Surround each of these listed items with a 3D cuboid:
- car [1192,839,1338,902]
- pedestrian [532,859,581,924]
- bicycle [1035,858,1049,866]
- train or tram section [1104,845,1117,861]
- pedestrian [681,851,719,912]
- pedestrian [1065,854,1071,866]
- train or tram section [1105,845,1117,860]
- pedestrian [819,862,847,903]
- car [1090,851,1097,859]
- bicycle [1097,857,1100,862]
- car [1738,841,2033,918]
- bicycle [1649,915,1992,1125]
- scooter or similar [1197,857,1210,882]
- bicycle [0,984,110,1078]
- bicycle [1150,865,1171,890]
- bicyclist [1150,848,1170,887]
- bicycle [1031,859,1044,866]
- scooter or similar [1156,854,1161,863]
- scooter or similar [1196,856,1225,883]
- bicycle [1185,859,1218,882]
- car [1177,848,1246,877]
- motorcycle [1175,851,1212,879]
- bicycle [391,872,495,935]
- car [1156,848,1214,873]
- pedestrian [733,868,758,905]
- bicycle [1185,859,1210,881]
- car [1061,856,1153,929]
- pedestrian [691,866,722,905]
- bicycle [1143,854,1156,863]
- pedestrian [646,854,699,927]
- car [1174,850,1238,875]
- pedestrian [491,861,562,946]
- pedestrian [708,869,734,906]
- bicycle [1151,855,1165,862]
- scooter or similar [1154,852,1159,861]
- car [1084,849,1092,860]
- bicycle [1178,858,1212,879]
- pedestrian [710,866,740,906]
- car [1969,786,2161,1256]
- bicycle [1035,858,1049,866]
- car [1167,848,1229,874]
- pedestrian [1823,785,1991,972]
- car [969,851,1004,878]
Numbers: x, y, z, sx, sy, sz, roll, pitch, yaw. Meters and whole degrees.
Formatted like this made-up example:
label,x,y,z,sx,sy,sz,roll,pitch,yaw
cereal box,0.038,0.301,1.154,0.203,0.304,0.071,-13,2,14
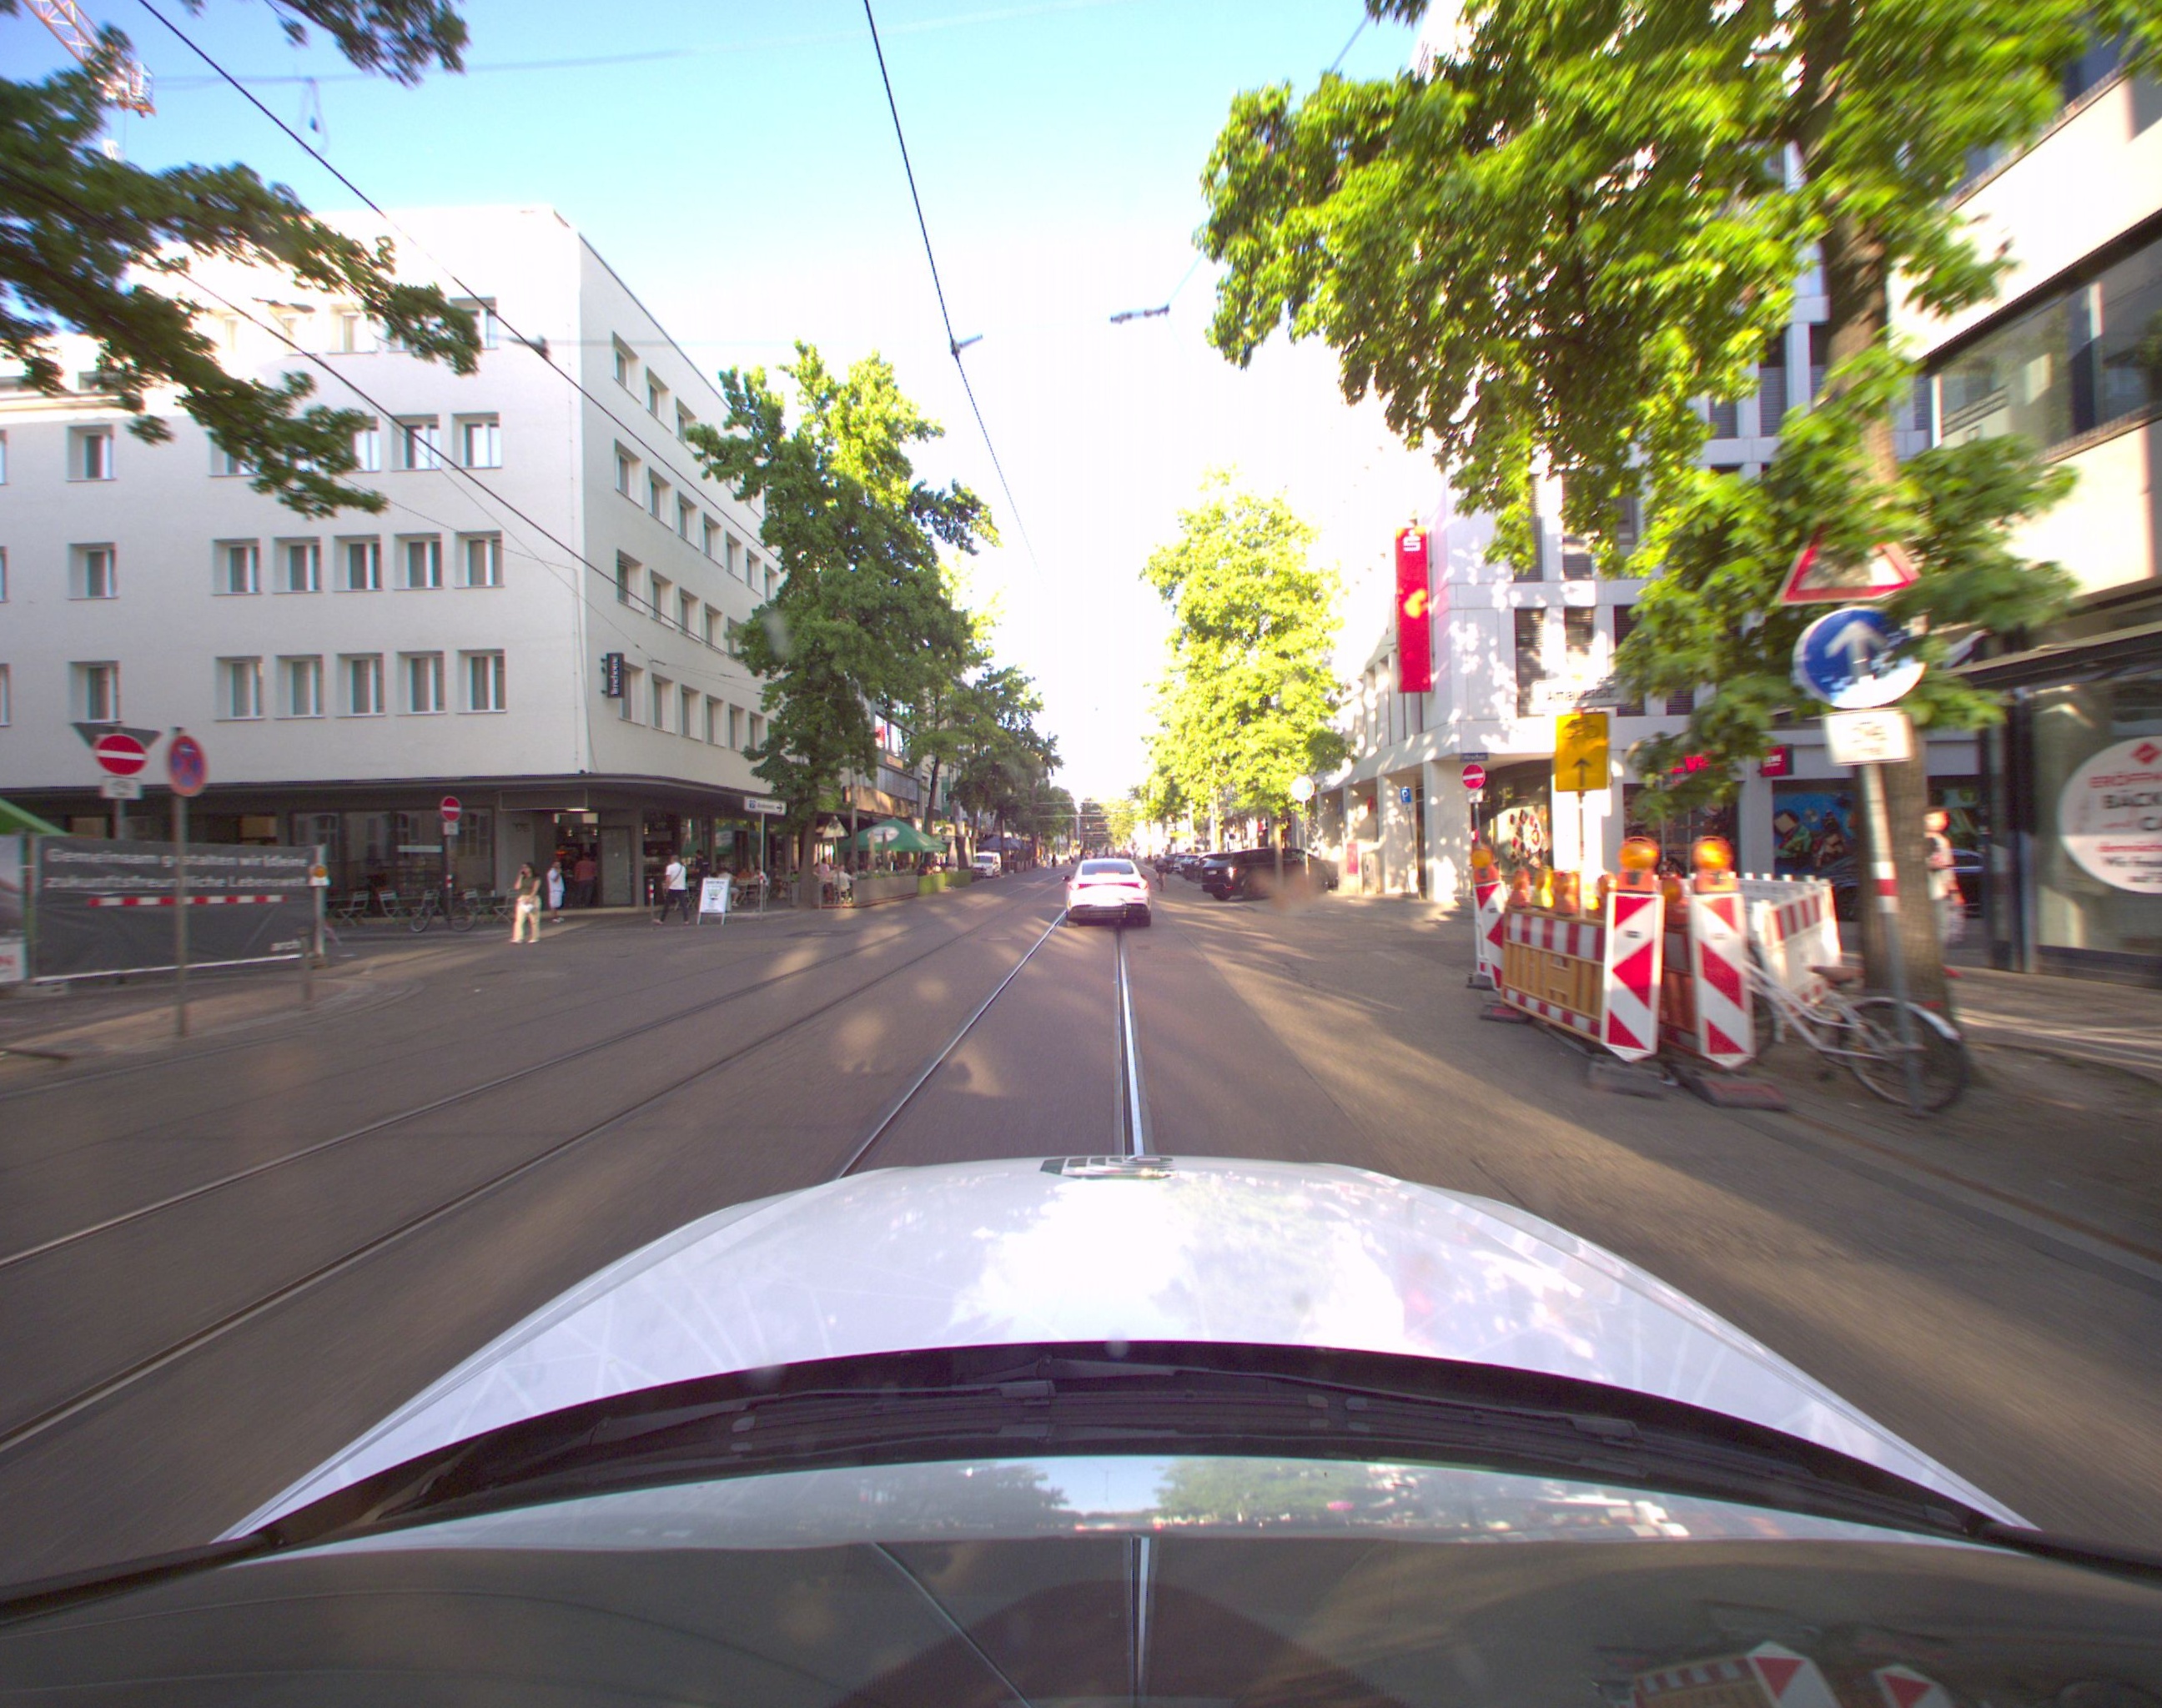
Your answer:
label,x,y,z,sx,sy,sz,roll,pitch,yaw
car,6.411,0.547,28.321,4.678,1.763,1.977,-4,0,-27
pedestrian,-13.629,0.949,21.190,0.797,1.614,0.862,-1,2,-15
bicycle,-5.121,1.049,106.782,1.784,1.077,0.377,0,0,-2
train or tram section,6.680,-0.274,184.494,2.684,3.516,12.552,-2,0,2
pedestrian,-11.608,0.812,24.818,0.679,1.815,0.767,0,0,17
pedestrian,-1.970,0.947,123.961,0.784,1.801,0.845,-1,0,3
train or tram section,7.213,-0.281,197.043,2.684,3.516,12.552,-2,0,2
pedestrian,-8.560,0.981,28.119,0.686,1.386,0.807,0,0,3
car,3.913,0.196,253.888,1.902,2.461,5.278,-2,0,3
bicycle,4.290,1.247,196.998,0.797,1.142,2.257,0,0,1
car,16.541,0.524,16.908,4.301,1.418,1.796,-1,-2,0
bicycle,4.669,0.968,5.364,0.491,0.981,1.930,-2,0,0
scooter or similar,6.463,0.820,42.963,0.449,1.276,1.307,-5,0,1
bicycle,-9.287,1.438,6.422,1.787,0.609,1.284,0,0,5
bicycle,3.436,1.001,35.121,0.714,0.995,2.065,1,0,11
bicyclist,3.406,0.575,34.951,0.772,1.613,0.915,0,0,11
bicycle,-5.502,1.042,103.276,1.586,0.930,0.378,0,0,8
scooter or similar,11.283,0.598,118.764,0.491,1.277,0.658,-3,0,-9
scooter or similar,6.696,0.805,41.956,1.311,1.276,0.559,-5,-1,-30
bicycle,6.572,0.885,44.439,1.567,1.088,0.861,-5,1,-28
car,8.557,0.551,53.402,4.174,1.571,1.836,-4,0,-31
motorcycle,6.969,0.672,50.234,2.332,1.509,0.849,-3,-1,-42
bicycle,-15.161,1.162,19.384,1.866,1.380,0.713,-1,2,3
car,8.263,0.523,64.828,4.369,1.652,1.678,-4,0,-29
pedestrian,-11.525,1.105,27.999,0.550,1.235,0.687,0,0,3
bicycle,6.684,0.914,46.722,0.475,1.163,1.705,-5,-1,42
car,0.612,0.791,18.661,1.850,1.455,4.177,-1,0,2
pedestrian,-12.380,1.039,26.907,0.642,1.269,0.739,0,0,3
bicycle,10.435,0.628,123.767,1.908,1.281,0.608,-3,0,-9
pedestrian,-10.135,0.880,20.195,0.788,1.740,0.871,-1,1,36
car,8.936,0.591,58.090,4.163,1.499,1.676,-4,0,-22
pedestrian,-11.306,0.987,16.639,0.704,1.656,0.968,-2,0,4
pedestrian,-12.244,1.121,27.738,0.550,1.235,0.687,0,0,3
bicycle,11.881,0.677,126.043,2.114,1.096,0.607,-2,-1,-11
scooter or similar,11.085,0.339,119.414,0.527,1.277,0.658,-3,0,-9
car,2.018,0.150,235.272,1.985,2.897,5.278,-2,0,3
bicycle,6.812,0.887,48.670,1.901,1.119,0.661,-4,-1,-27
pedestrian,-11.725,1.041,26.811,0.624,1.282,0.728,0,0,3
car,4.937,0.556,1.128,2.016,1.737,4.907,-4,0,1
bicycle,-5.115,1.045,106.346,1.784,1.077,0.377,0,0,-2
car,8.784,0.513,60.929,4.262,1.587,1.866,-4,0,-29
pedestrian,8.967,0.254,8.889,0.830,1.897,0.919,-3,0,5
car,-6.875,0.739,59.733,1.788,1.864,4.557,1,0,3
